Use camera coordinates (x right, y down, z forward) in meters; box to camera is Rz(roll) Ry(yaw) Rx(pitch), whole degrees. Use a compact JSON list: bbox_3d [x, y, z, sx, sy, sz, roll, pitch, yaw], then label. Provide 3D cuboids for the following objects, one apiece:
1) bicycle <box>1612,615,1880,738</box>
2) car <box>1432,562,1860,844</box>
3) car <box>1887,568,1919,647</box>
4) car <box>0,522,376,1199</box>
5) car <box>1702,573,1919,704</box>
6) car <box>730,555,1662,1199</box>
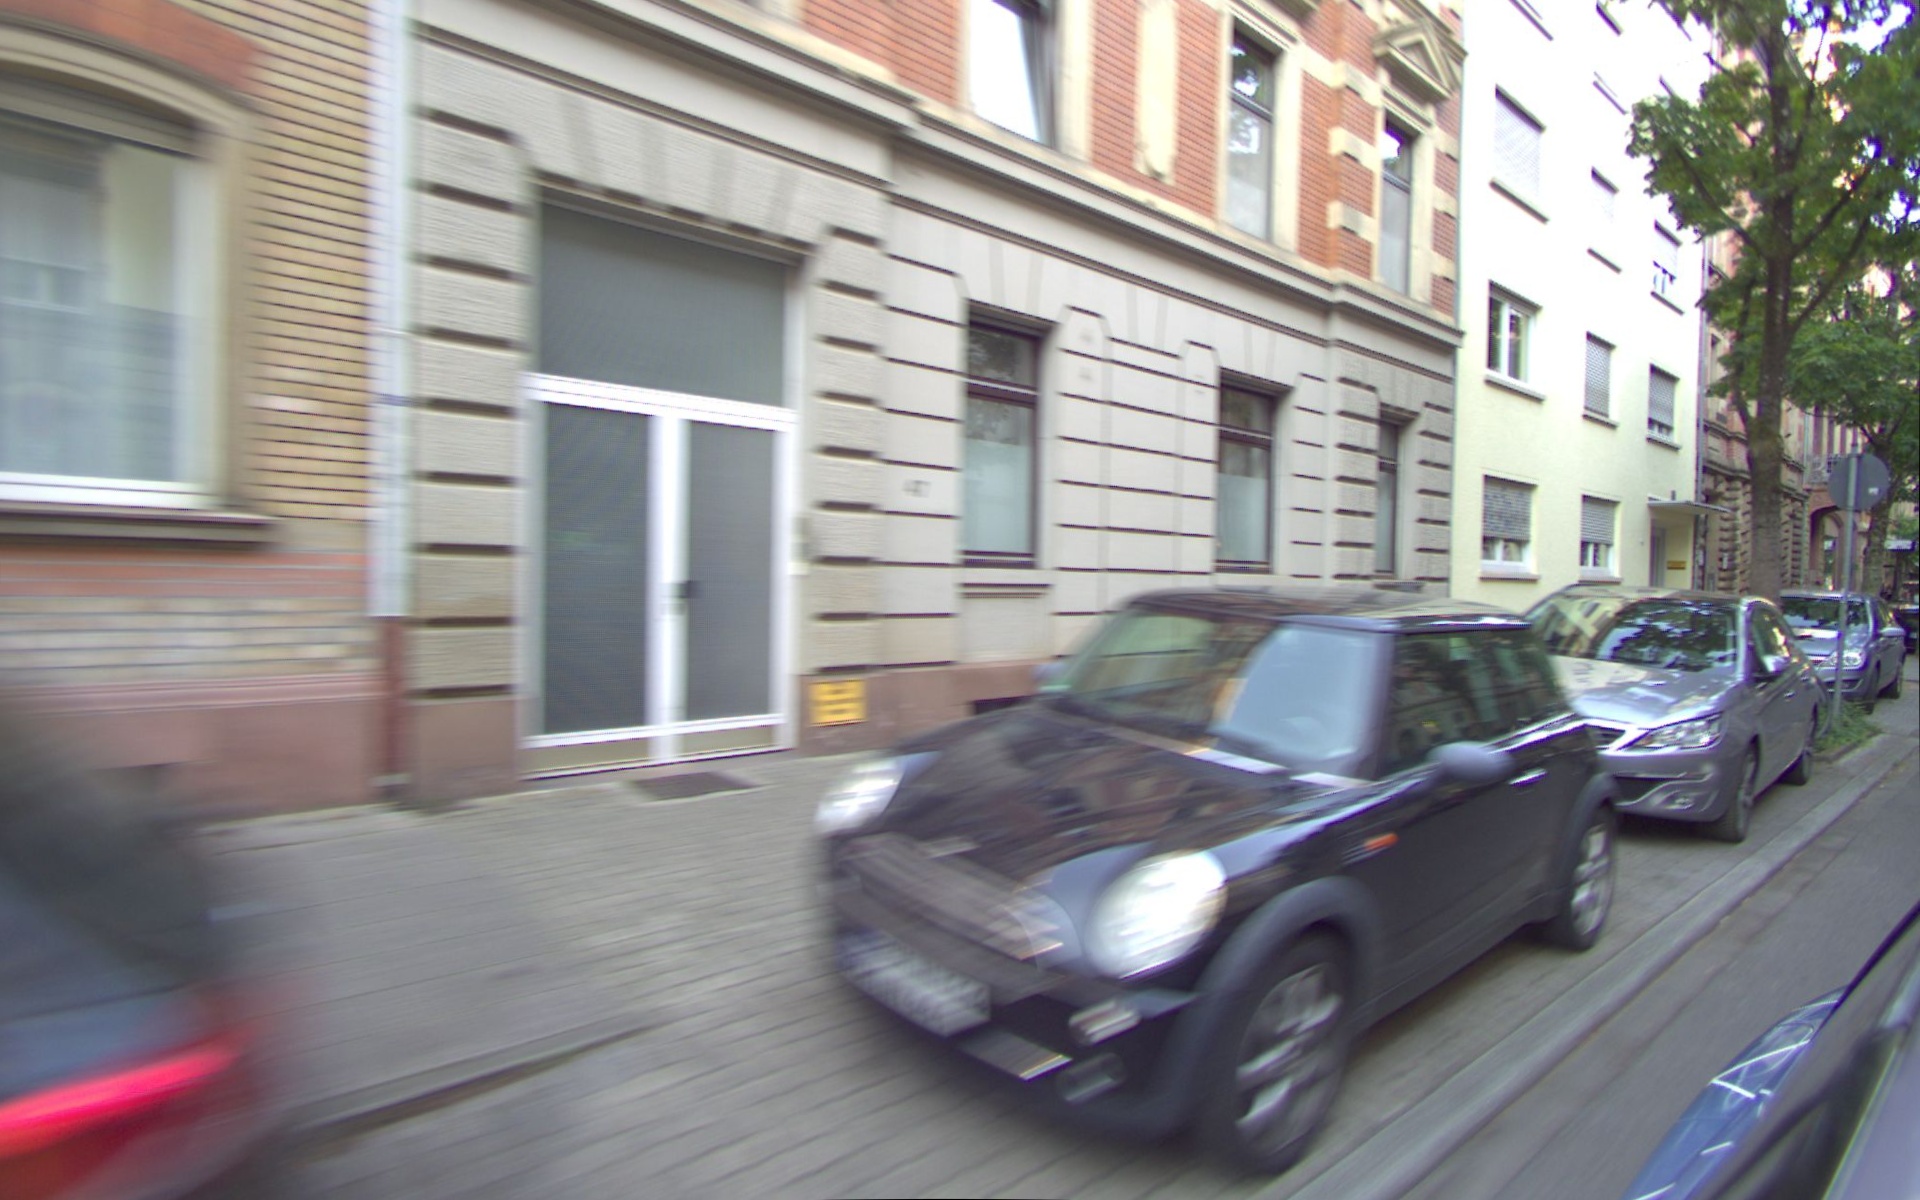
[{"bbox_3d":[7.397,0.687,9.649,1.904,0.994,0.632,2,1,28],"label":"bicycle"},{"bbox_3d":[5.357,0.537,7.650,4.294,1.494,1.719,0,3,-43],"label":"car"},{"bbox_3d":[24.805,0.219,25.150,4.727,1.855,2.018,0,4,-41],"label":"car"},{"bbox_3d":[-2.769,0.626,0.155,4.395,1.432,1.771,0,4,-41],"label":"car"},{"bbox_3d":[11.689,0.422,13.726,4.234,1.481,1.762,0,2,-42],"label":"car"},{"bbox_3d":[1.128,0.611,3.737,3.504,1.441,1.638,0,3,-43],"label":"car"}]
